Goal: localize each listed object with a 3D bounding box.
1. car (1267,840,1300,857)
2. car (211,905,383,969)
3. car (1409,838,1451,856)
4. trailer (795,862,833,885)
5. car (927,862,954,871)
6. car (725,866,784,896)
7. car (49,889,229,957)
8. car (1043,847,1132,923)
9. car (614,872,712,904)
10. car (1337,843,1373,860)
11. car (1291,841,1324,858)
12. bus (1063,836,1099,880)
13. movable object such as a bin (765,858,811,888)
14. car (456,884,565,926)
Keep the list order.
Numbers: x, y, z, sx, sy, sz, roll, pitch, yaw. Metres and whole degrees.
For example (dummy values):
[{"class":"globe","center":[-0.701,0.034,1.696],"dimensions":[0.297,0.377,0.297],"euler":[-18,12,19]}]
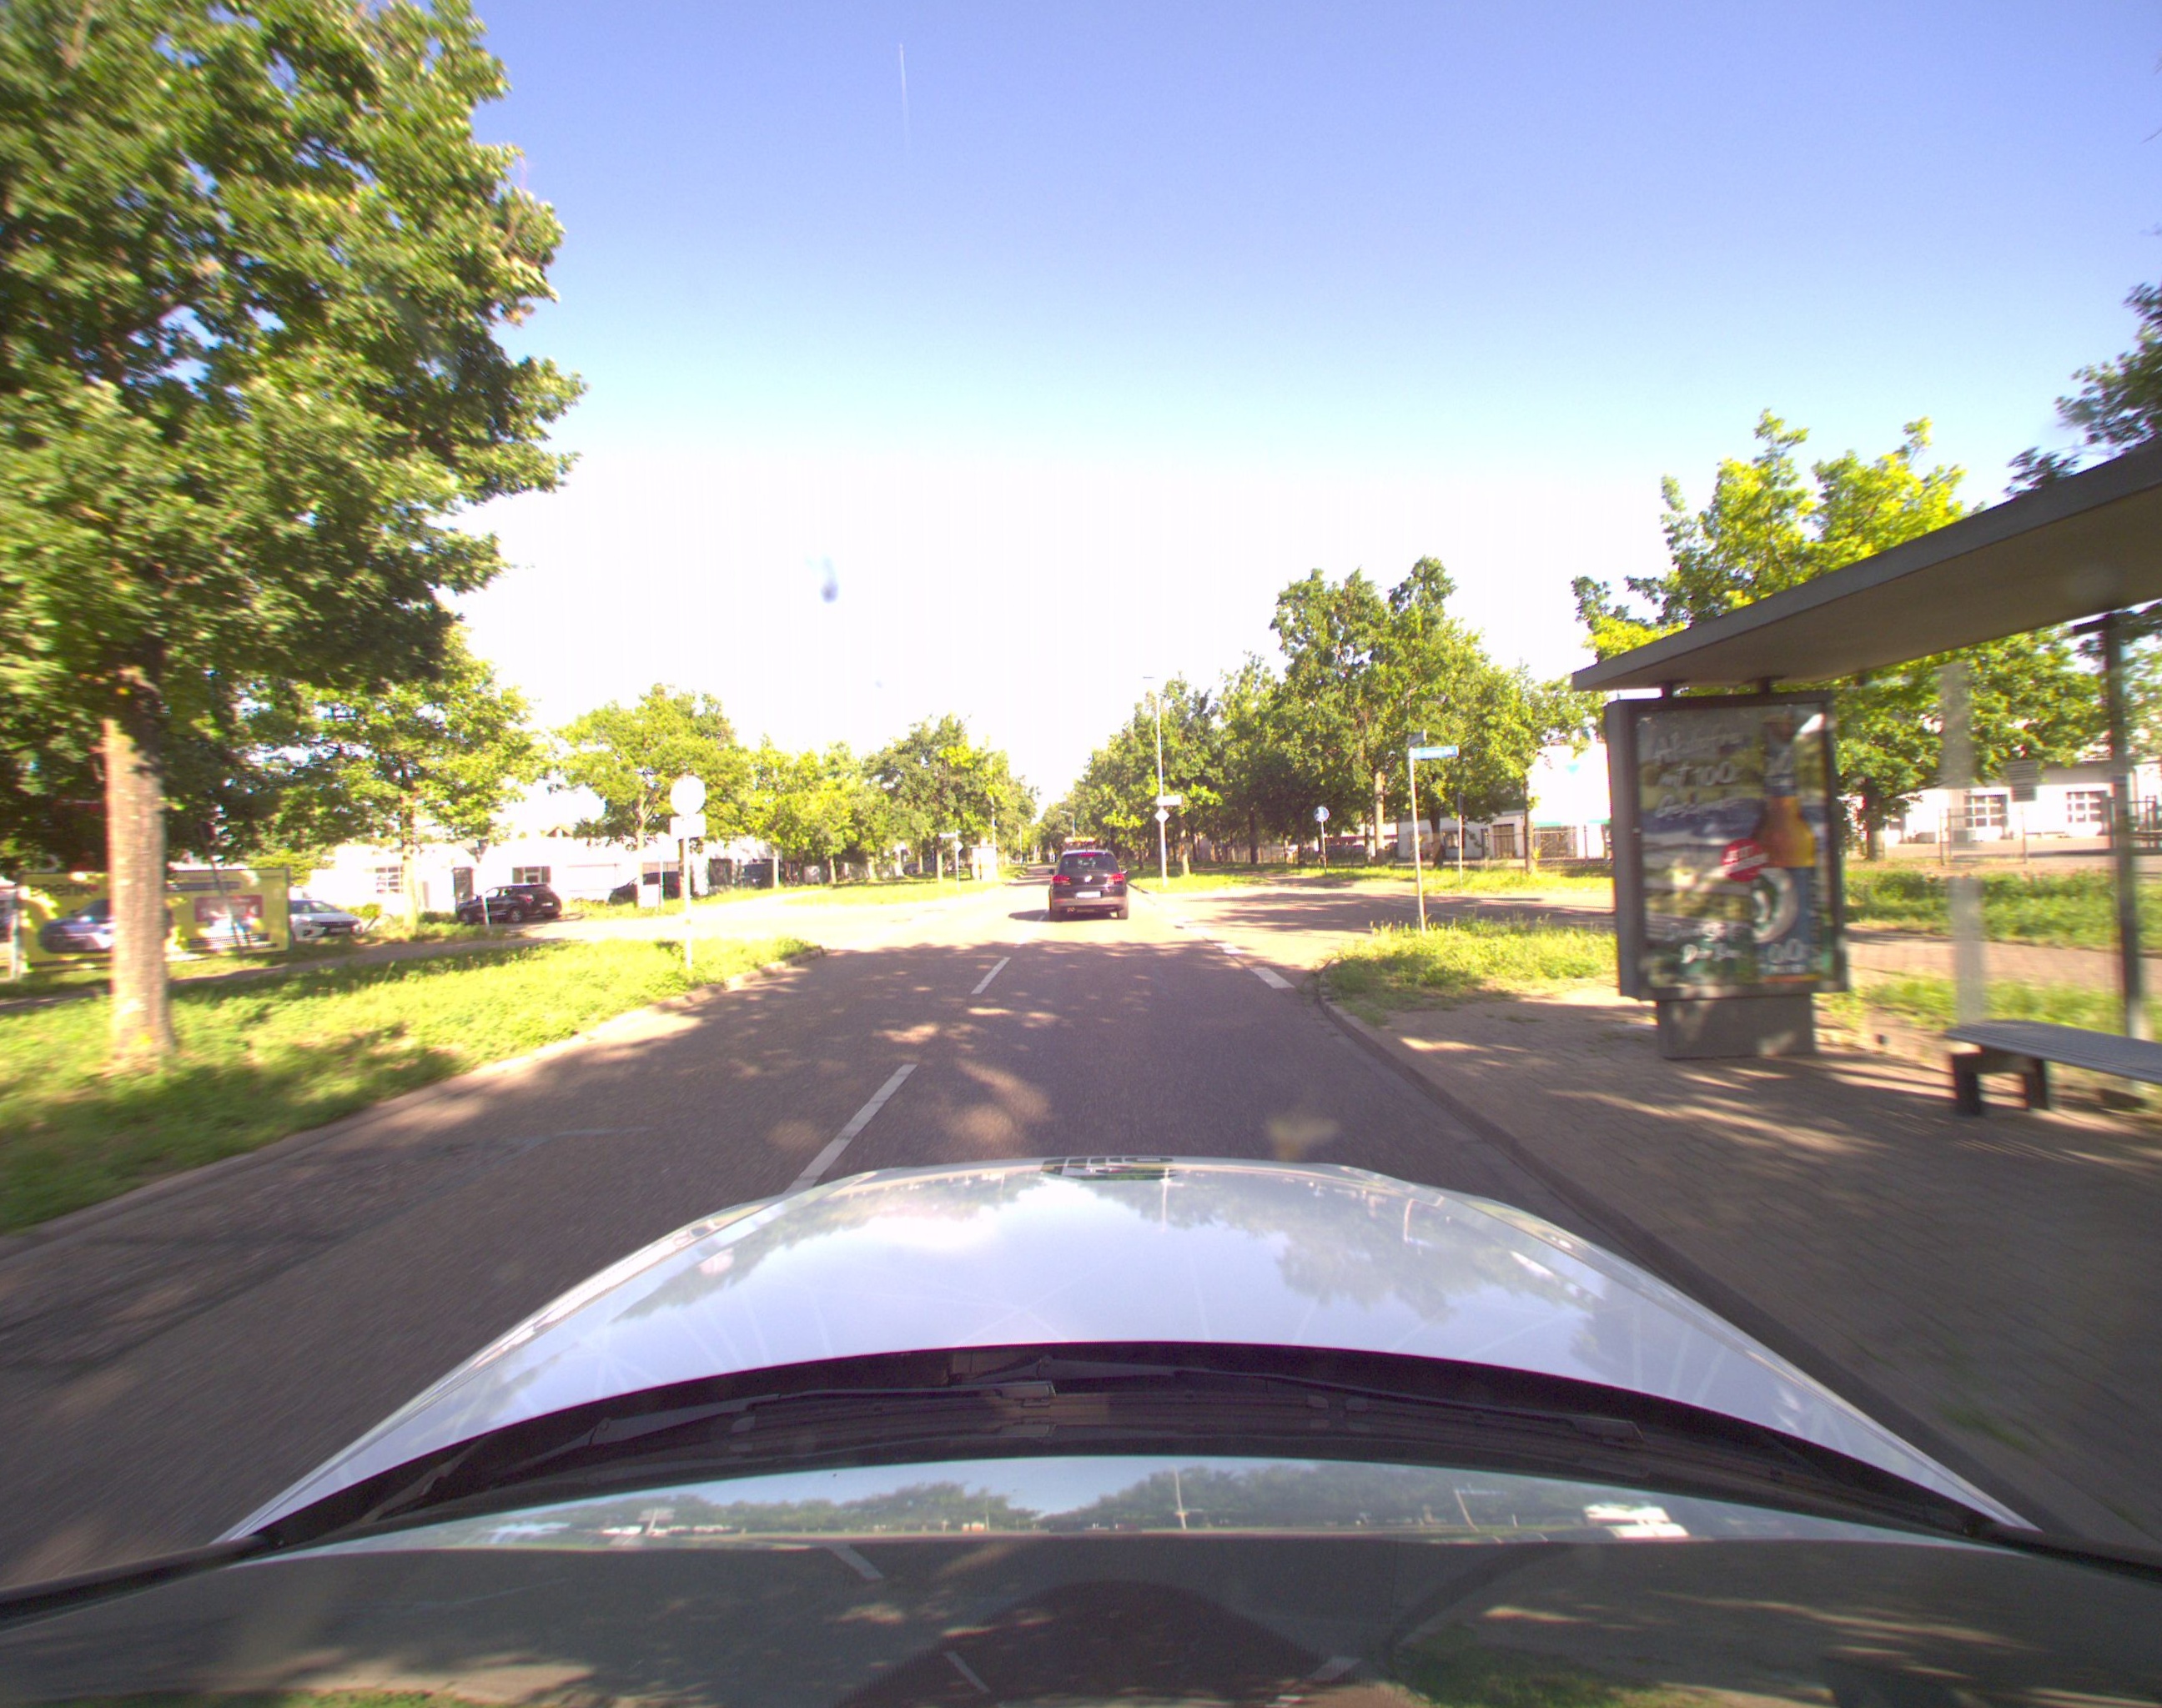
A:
[{"class":"car","center":[22.333,-0.583,90.058],"dimensions":[2.179,1.744,4.636],"euler":[-3,0,-3]},{"class":"car","center":[-23.667,2.494,24.642],"dimensions":[3.716,1.618,1.971],"euler":[-3,0,13]},{"class":"car","center":[29.375,-0.582,68.639],"dimensions":[1.761,1.383,3.763],"euler":[-3,0,-3]},{"class":"trailer","center":[-24.179,1.717,73.984],"dimensions":[2.095,1.914,3.740],"euler":[-3,0,0]},{"class":"car","center":[-24.370,2.218,141.070],"dimensions":[4.183,1.321,1.942],"euler":[-3,0,1]},{"class":"car","center":[-24.154,1.966,60.576],"dimensions":[2.030,1.988,5.803],"euler":[-3,0,-1]},{"class":"car","center":[-30.480,2.232,26.367],"dimensions":[4.970,1.906,1.950],"euler":[-3,0,17]},{"class":"car","center":[0.223,0.676,20.196],"dimensions":[1.928,1.656,4.429],"euler":[-1,0,2]},{"class":"car","center":[-23.462,1.889,45.774],"dimensions":[4.478,1.479,1.945],"euler":[-3,0,6]},{"class":"car","center":[30.306,-0.264,90.257],"dimensions":[2.179,1.744,4.636],"euler":[-3,0,-3]},{"class":"car","center":[25.035,-0.501,90.150],"dimensions":[2.179,1.744,4.636],"euler":[-3,0,-3]},{"class":"bus","center":[-0.068,0.331,71.066],"dimensions":[2.756,3.456,11.205],"euler":[-3,0,-1]},{"class":"movable object such as a bin","center":[-23.985,1.511,66.853],"dimensions":[2.095,2.217,4.460],"euler":[-3,0,0]},{"class":"car","center":[-24.176,2.168,34.535],"dimensions":[3.641,1.532,1.830],"euler":[-3,0,15]}]
